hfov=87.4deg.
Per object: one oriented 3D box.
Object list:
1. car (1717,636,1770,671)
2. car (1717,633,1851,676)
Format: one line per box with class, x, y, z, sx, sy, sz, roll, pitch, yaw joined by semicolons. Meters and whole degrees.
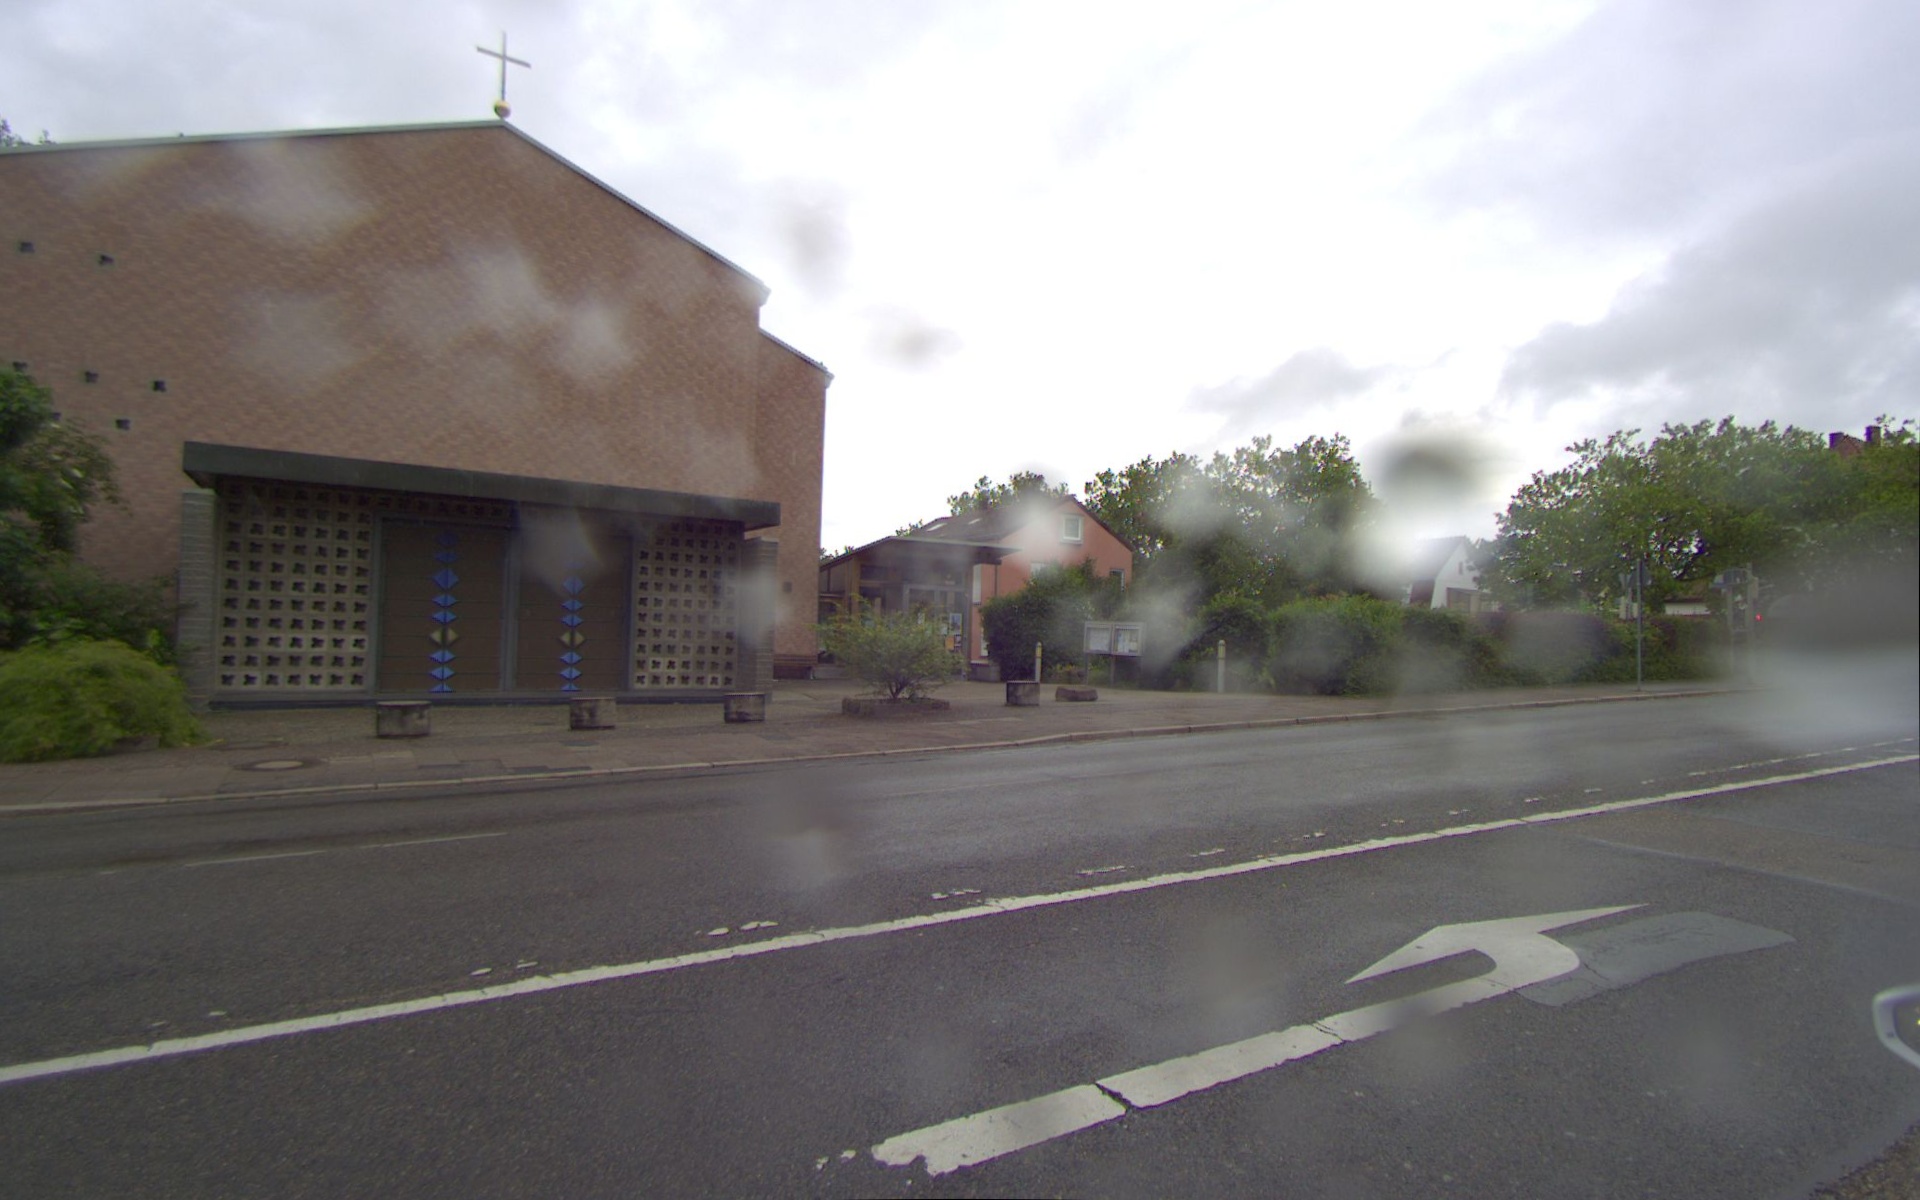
car;38.614;2.618;49.516;1.969;1.572;3.983;0;-1;38
car;35.822;2.326;43.747;4.418;1.608;2.060;1;0;42
